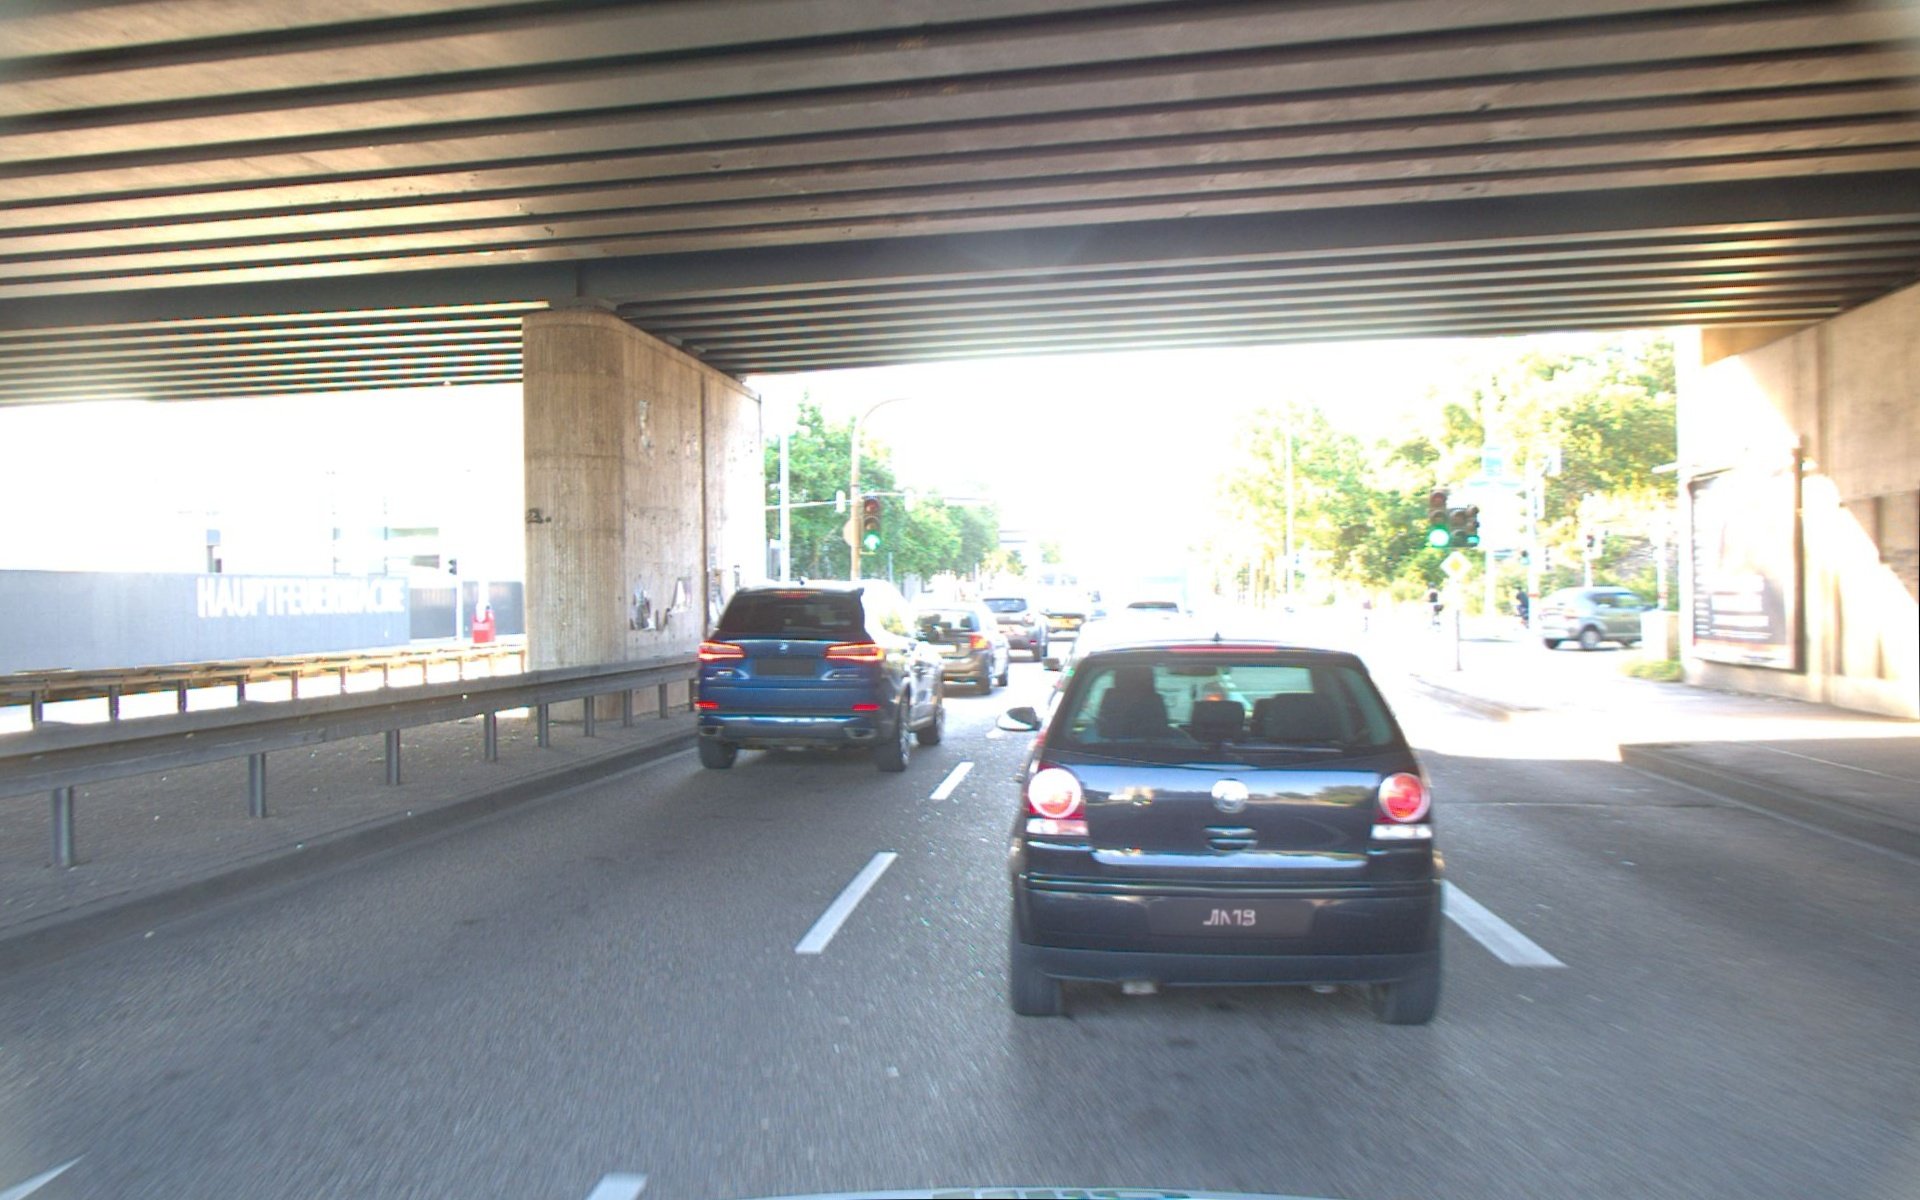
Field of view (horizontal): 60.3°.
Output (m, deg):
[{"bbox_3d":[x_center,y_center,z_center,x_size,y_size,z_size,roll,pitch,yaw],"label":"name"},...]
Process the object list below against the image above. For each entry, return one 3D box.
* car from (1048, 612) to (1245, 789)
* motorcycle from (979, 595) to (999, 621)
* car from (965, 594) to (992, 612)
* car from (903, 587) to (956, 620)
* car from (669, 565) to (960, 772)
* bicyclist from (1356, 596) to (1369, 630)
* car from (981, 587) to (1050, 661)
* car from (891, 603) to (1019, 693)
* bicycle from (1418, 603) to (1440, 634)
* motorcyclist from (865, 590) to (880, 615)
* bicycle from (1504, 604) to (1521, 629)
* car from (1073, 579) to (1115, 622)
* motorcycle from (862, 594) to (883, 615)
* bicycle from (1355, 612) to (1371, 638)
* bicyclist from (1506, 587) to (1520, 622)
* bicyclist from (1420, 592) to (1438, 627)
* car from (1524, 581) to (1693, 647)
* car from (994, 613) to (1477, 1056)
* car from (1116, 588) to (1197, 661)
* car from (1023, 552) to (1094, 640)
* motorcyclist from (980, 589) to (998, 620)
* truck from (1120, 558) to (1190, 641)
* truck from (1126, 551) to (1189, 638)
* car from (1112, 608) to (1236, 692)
[{"bbox_3d":[1.653,0.850,15.739,1.546,1.438,4.063,1,0,2],"label":"car"},{"bbox_3d":[1.301,0.359,74.782,0.822,1.094,2.401,-3,0,1],"label":"motorcycle"},{"bbox_3d":[1.725,0.287,152.099,1.952,1.425,4.352,-4,-1,6],"label":"car"},{"bbox_3d":[-1.431,0.171,78.171,1.951,1.501,4.083,1,0,6],"label":"car"},{"bbox_3d":[-1.277,0.610,16.633,1.951,1.764,4.536,1,0,7],"label":"car"},{"bbox_3d":[14.964,0.481,61.486,0.418,1.254,0.460,-1,-1,7],"label":"bicyclist"},{"bbox_3d":[1.386,0.570,40.461,1.583,1.709,3.684,1,-1,3],"label":"car"},{"bbox_3d":[-0.020,0.797,28.673,1.582,1.434,3.686,1,0,10],"label":"car"},{"bbox_3d":[18.025,0.710,63.551,0.552,1.132,1.623,1,-1,7],"label":"bicycle"},{"bbox_3d":[-5.051,0.135,95.595,0.666,1.449,0.868,1,-1,11],"label":"motorcyclist"},{"bbox_3d":[21.035,0.626,62.936,0.428,0.930,1.027,1,-1,8],"label":"bicycle"},{"bbox_3d":[5.481,0.035,67.553,1.582,1.709,3.685,1,-1,6],"label":"car"},{"bbox_3d":[-5.046,0.255,95.666,0.666,1.176,2.240,1,-1,11],"label":"motorcycle"},{"bbox_3d":[14.964,0.929,61.471,0.428,0.930,1.027,-2,-1,8],"label":"bicycle"},{"bbox_3d":[21.043,0.172,62.984,0.418,1.331,0.460,1,-1,8],"label":"bicyclist"},{"bbox_3d":[18.040,0.353,63.601,0.532,1.339,0.836,1,-1,7],"label":"bicyclist"},{"bbox_3d":[17.031,0.375,43.464,3.988,1.659,1.733,1,-1,-20],"label":"car"},{"bbox_3d":[1.091,0.790,7.362,1.582,1.434,3.685,1,0,6],"label":"car"},{"bbox_3d":[4.569,0.558,38.326,1.758,1.586,4.003,1,0,7],"label":"car"},{"bbox_3d":[3.089,-0.101,52.348,2.092,2.621,5.088,1,-1,3],"label":"car"},{"bbox_3d":[1.314,0.197,74.832,0.781,1.373,1.275,-2,1,1],"label":"motorcyclist"},{"bbox_3d":[5.842,0.003,49.330,1.953,2.356,4.003,1,-1,7],"label":"truck"},{"bbox_3d":[6.502,-0.159,54.272,1.953,2.715,4.003,1,-1,7],"label":"truck"},{"bbox_3d":[3.674,0.817,28.410,1.951,1.317,4.003,1,0,7],"label":"car"}]
